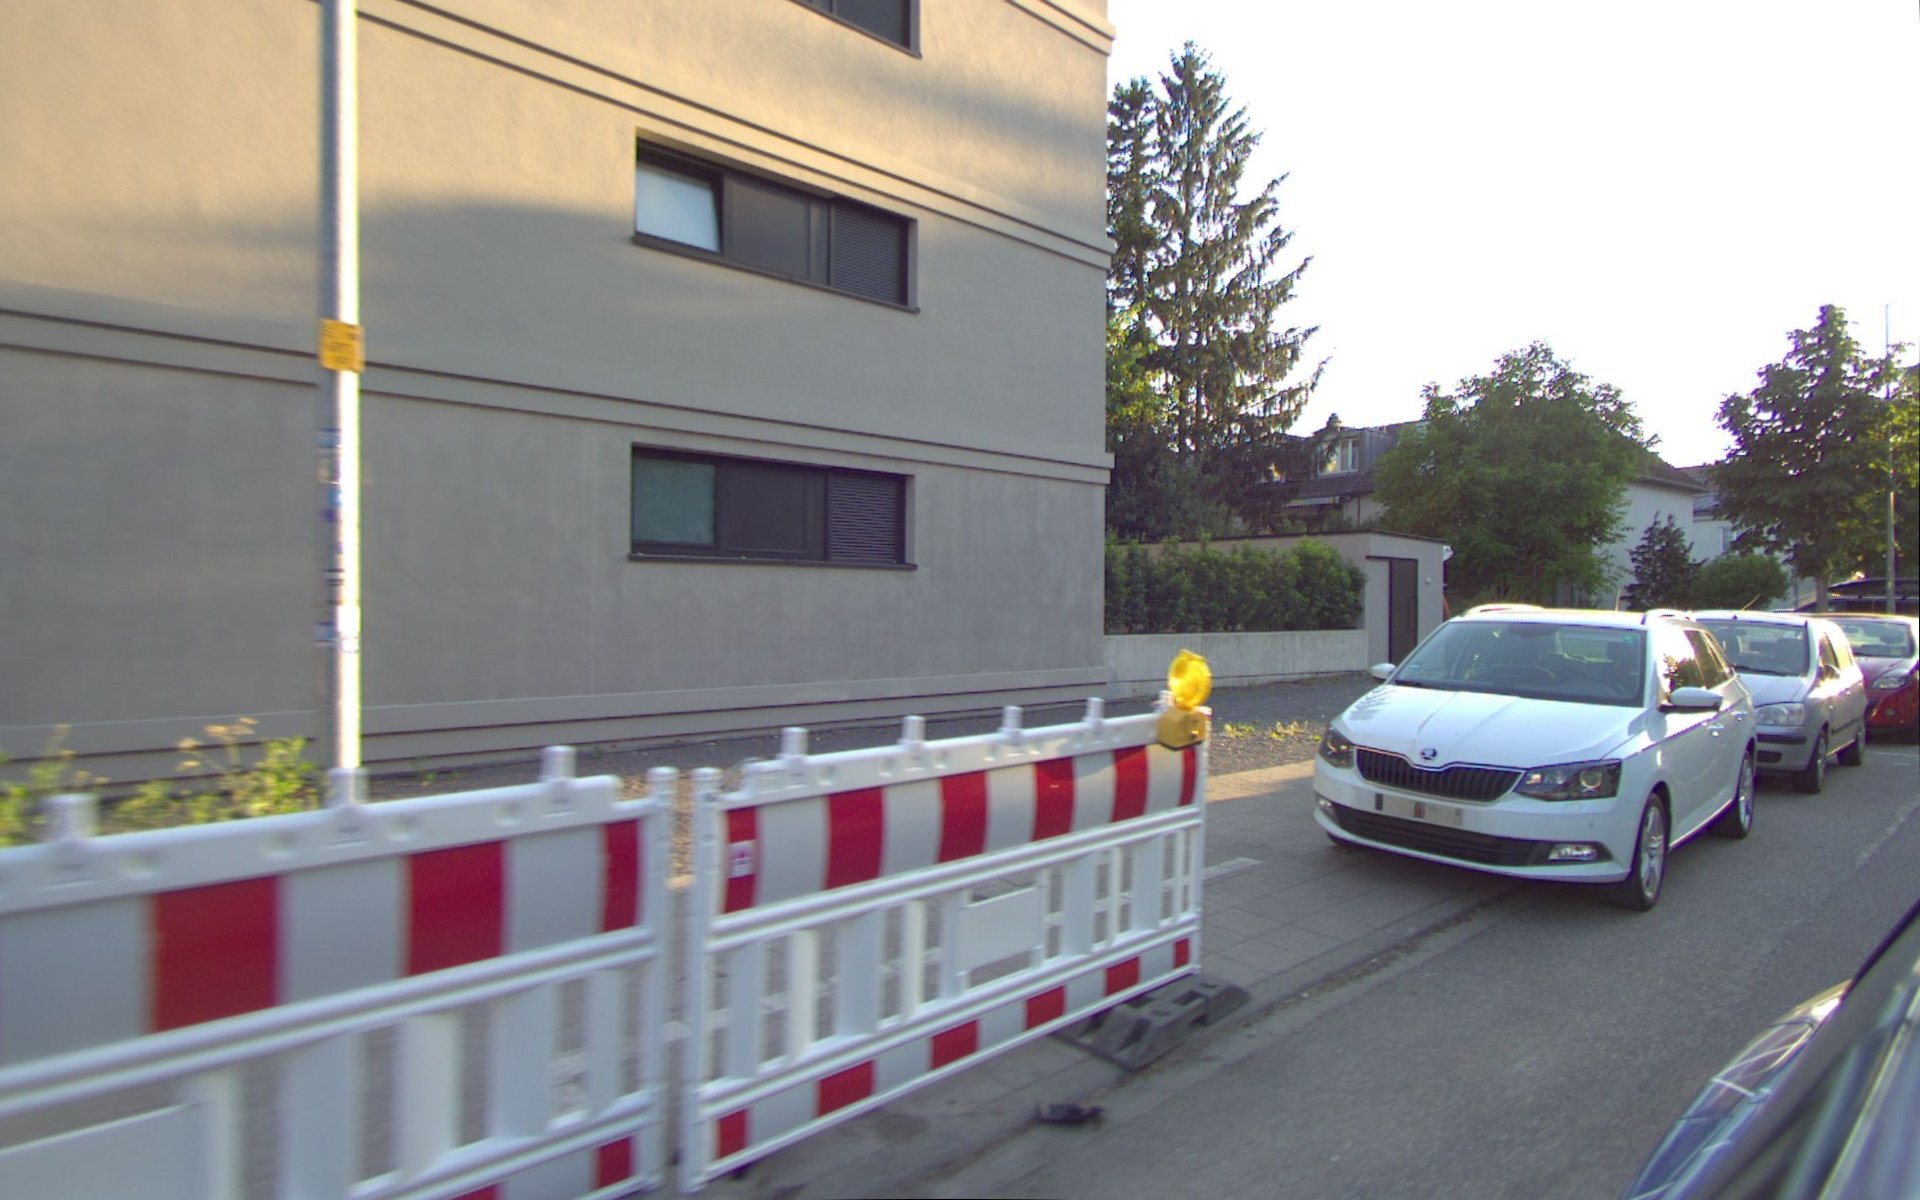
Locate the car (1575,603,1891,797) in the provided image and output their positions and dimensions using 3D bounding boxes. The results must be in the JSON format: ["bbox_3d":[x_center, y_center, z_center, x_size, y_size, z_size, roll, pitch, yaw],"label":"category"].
[{"bbox_3d":[7.552,0.779,9.765,3.778,1.488,1.799,0,0,-43],"label":"car"}]

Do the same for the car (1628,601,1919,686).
[{"bbox_3d":[16.374,0.788,20.150,1.738,1.415,4.829,1,1,-39],"label":"car"}]

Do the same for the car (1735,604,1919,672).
[{"bbox_3d":[21.829,0.891,25.144,1.600,1.563,3.838,0,0,-41],"label":"car"}]

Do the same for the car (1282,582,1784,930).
[{"bbox_3d":[3.739,0.670,6.280,3.929,1.488,1.616,0,0,-43],"label":"car"}]

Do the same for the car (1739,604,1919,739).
[{"bbox_3d":[11.551,0.793,12.971,3.692,1.488,1.744,0,0,-40],"label":"car"}]

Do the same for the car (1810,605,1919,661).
[{"bbox_3d":[27.736,0.951,29.731,1.761,1.580,3.994,0,0,-40],"label":"car"}]

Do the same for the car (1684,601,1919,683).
[{"bbox_3d":[18.394,0.844,21.935,1.737,1.520,4.067,1,1,-37],"label":"car"}]

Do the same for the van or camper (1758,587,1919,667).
[{"bbox_3d":[23.957,0.677,26.416,2.059,1.978,4.652,0,0,-43],"label":"van or camper"}]
